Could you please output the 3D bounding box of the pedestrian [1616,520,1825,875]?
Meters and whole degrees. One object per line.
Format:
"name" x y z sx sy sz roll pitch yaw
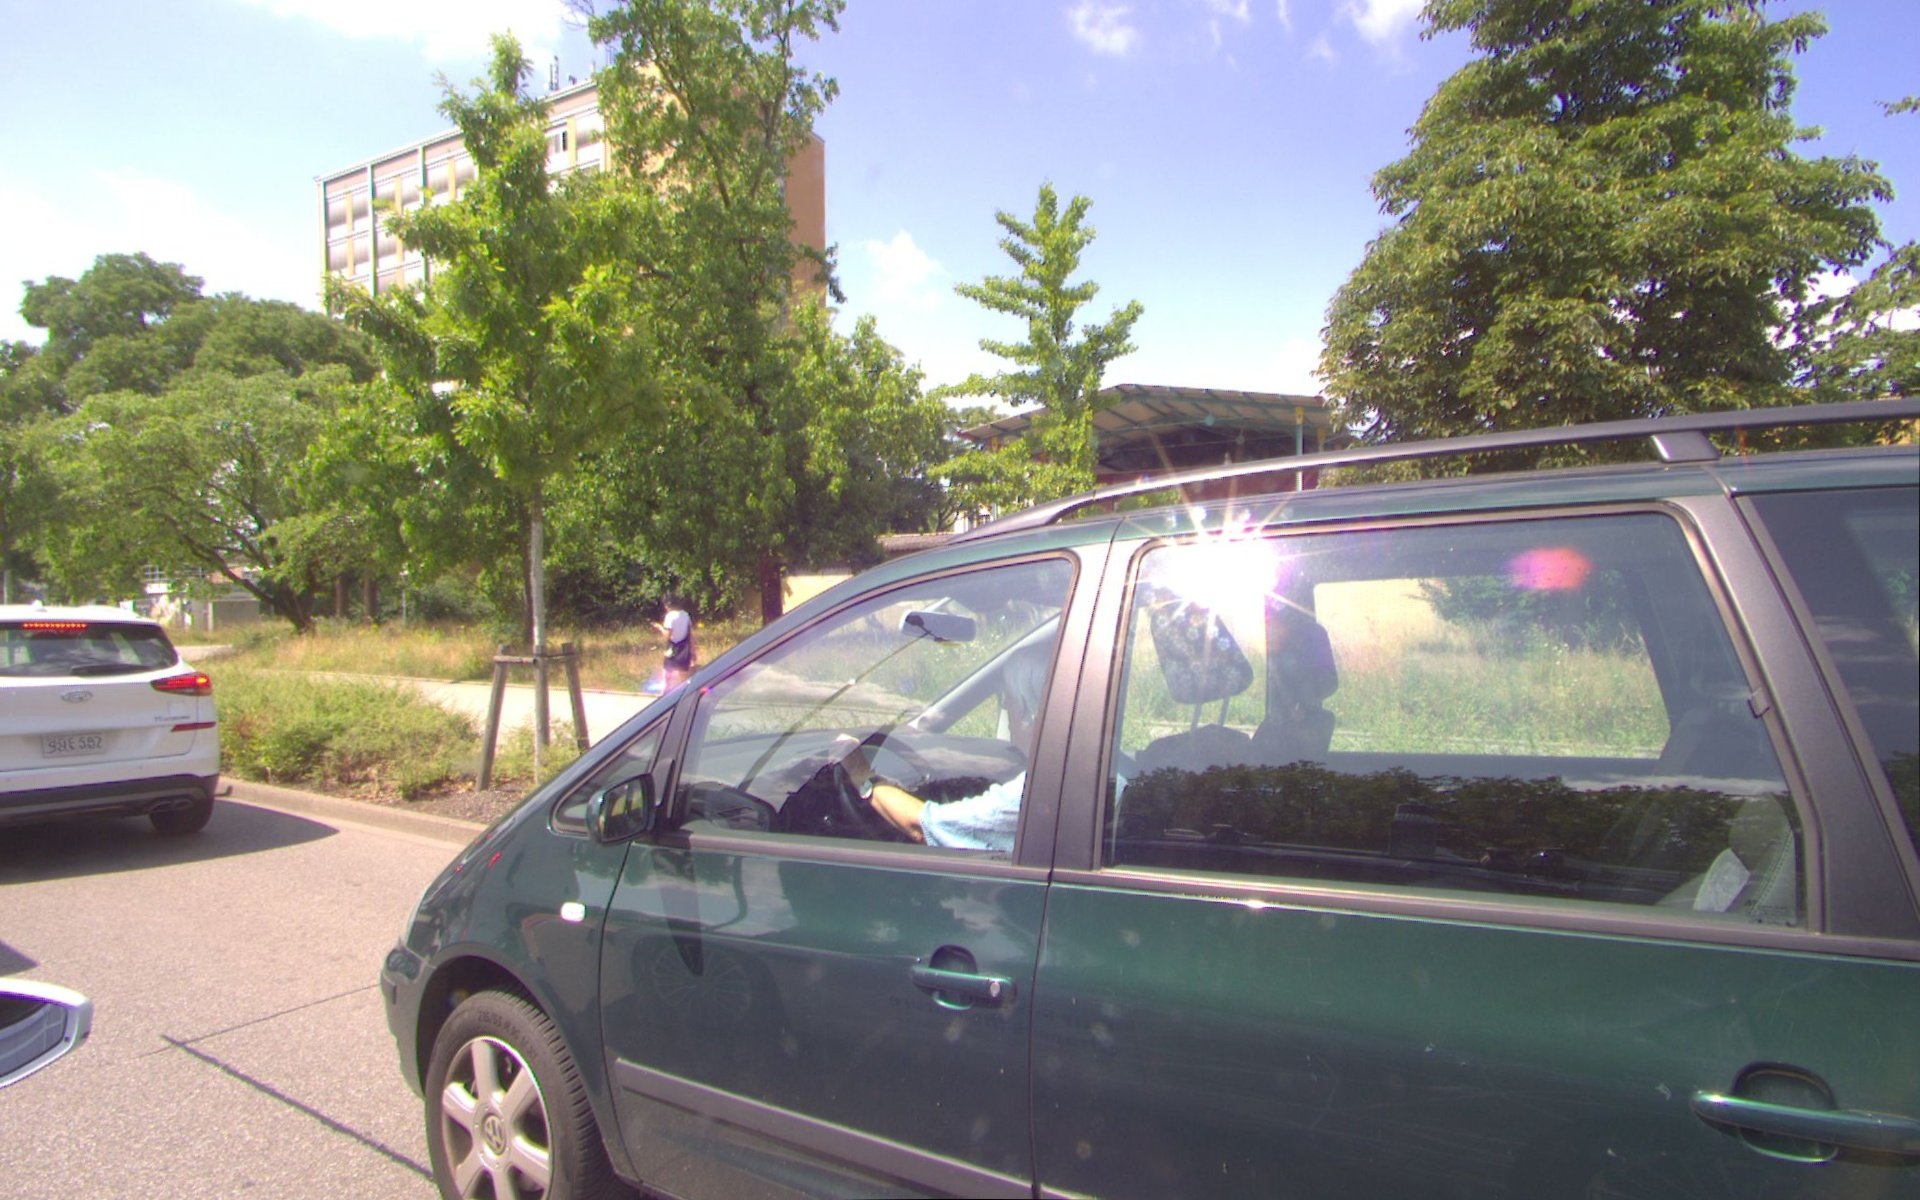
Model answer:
"pedestrian" 4.067 0.472 5.358 0.807 1.706 0.754 0 1 44

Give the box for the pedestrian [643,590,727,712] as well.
"pedestrian" -3.698 0.666 13.485 0.805 1.578 0.757 0 1 34

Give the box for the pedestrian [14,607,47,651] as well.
"pedestrian" -39.864 1.239 42.934 0.802 1.874 0.759 0 1 22

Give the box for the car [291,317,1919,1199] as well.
"car" 0.553 0.630 2.263 4.329 1.737 1.799 0 -2 32

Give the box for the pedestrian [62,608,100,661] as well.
"pedestrian" -28.669 1.106 32.667 0.805 1.677 0.756 0 1 36

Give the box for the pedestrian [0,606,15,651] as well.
"pedestrian" -40.683 1.200 42.397 0.803 1.874 0.758 0 1 26

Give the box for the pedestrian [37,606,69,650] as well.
"pedestrian" -39.607 1.206 43.727 0.803 1.874 0.759 0 1 24

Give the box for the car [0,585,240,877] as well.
"car" -7.051 0.778 7.198 3.919 1.701 1.810 0 0 34
